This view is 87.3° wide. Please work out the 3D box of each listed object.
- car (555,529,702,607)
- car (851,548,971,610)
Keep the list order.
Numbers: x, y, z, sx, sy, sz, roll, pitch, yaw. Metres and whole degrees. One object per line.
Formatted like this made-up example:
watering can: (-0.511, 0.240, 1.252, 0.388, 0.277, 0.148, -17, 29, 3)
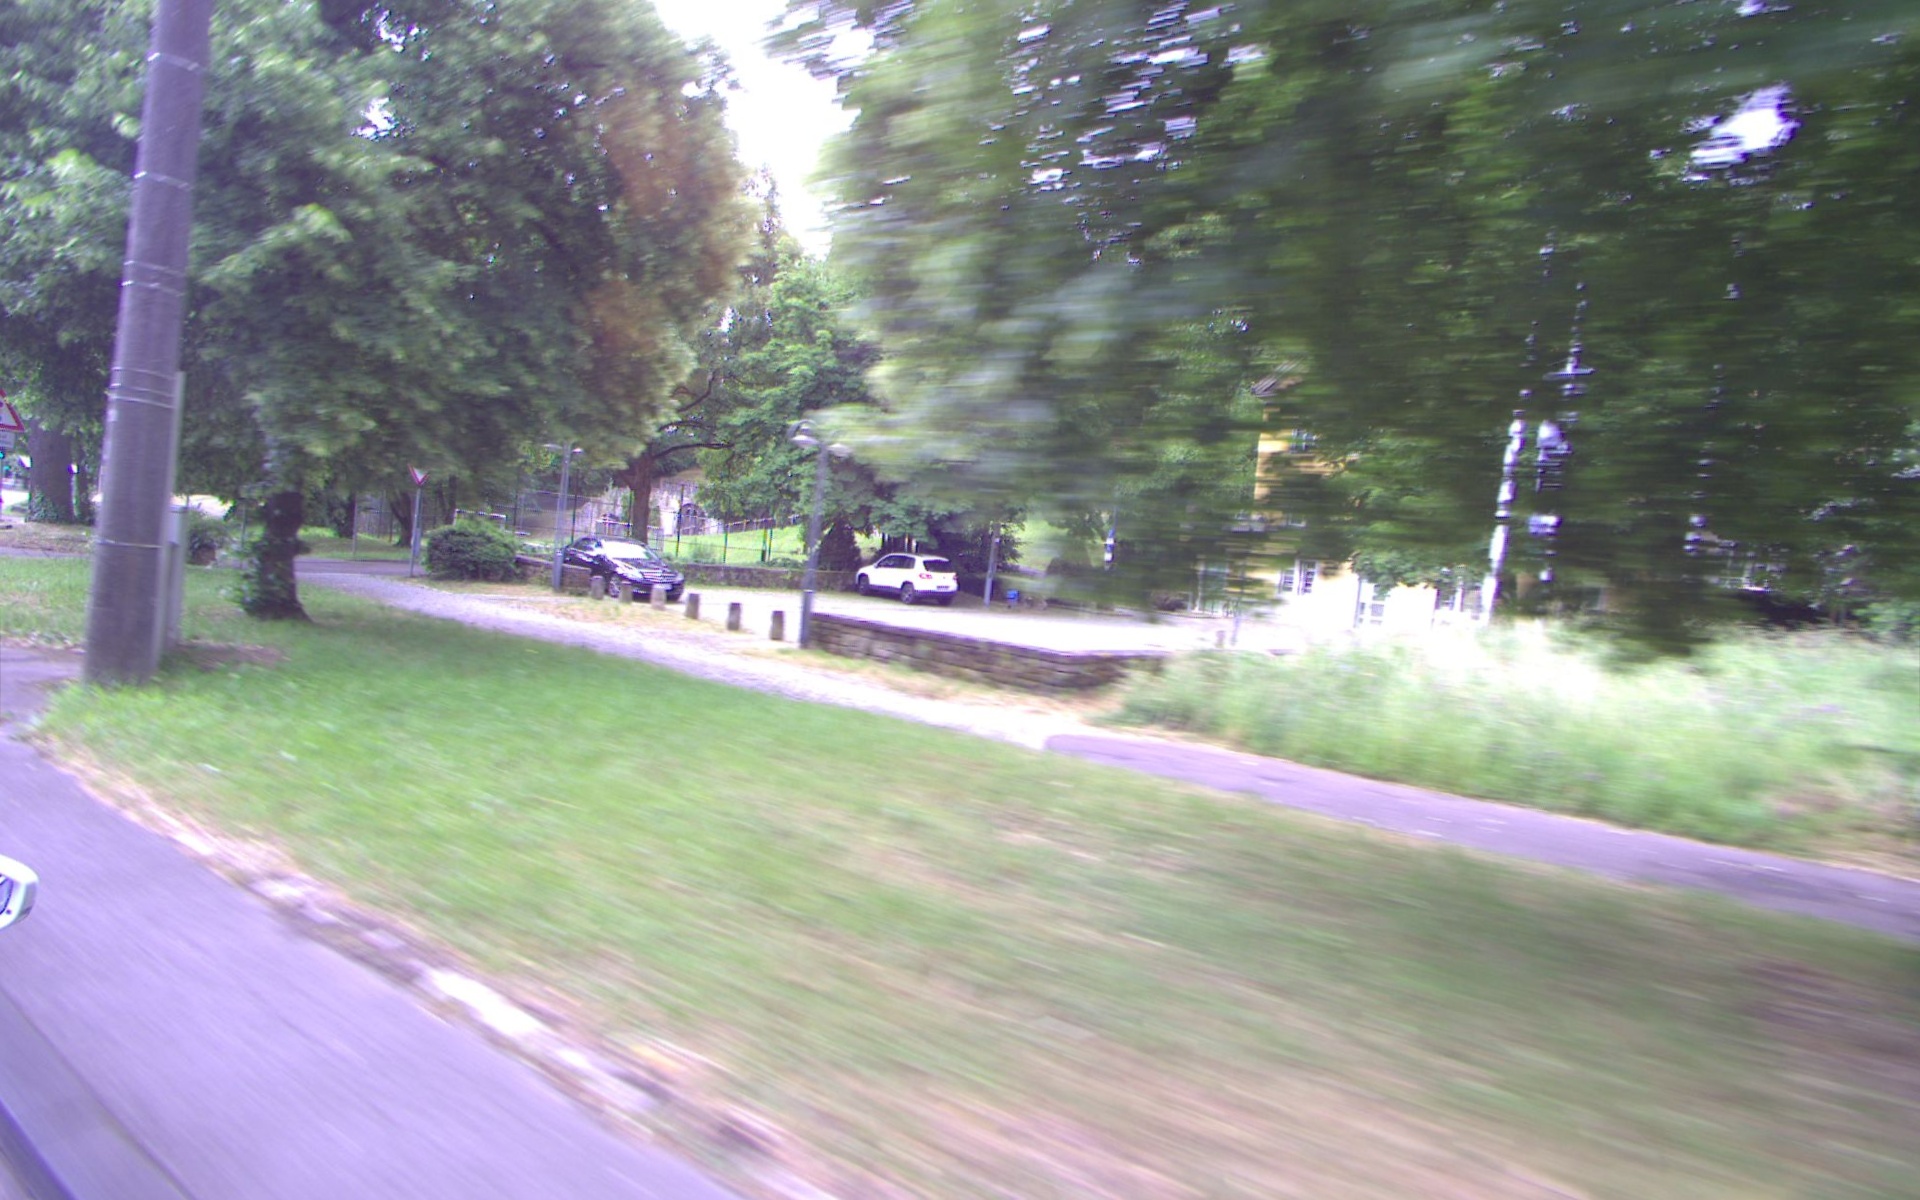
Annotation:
car: (-8.666, -0.864, 26.083, 1.898, 1.451, 4.409, 3, 5, -43)
car: (-1.756, -0.745, 34.779, 1.983, 1.675, 3.949, 0, 7, -43)
